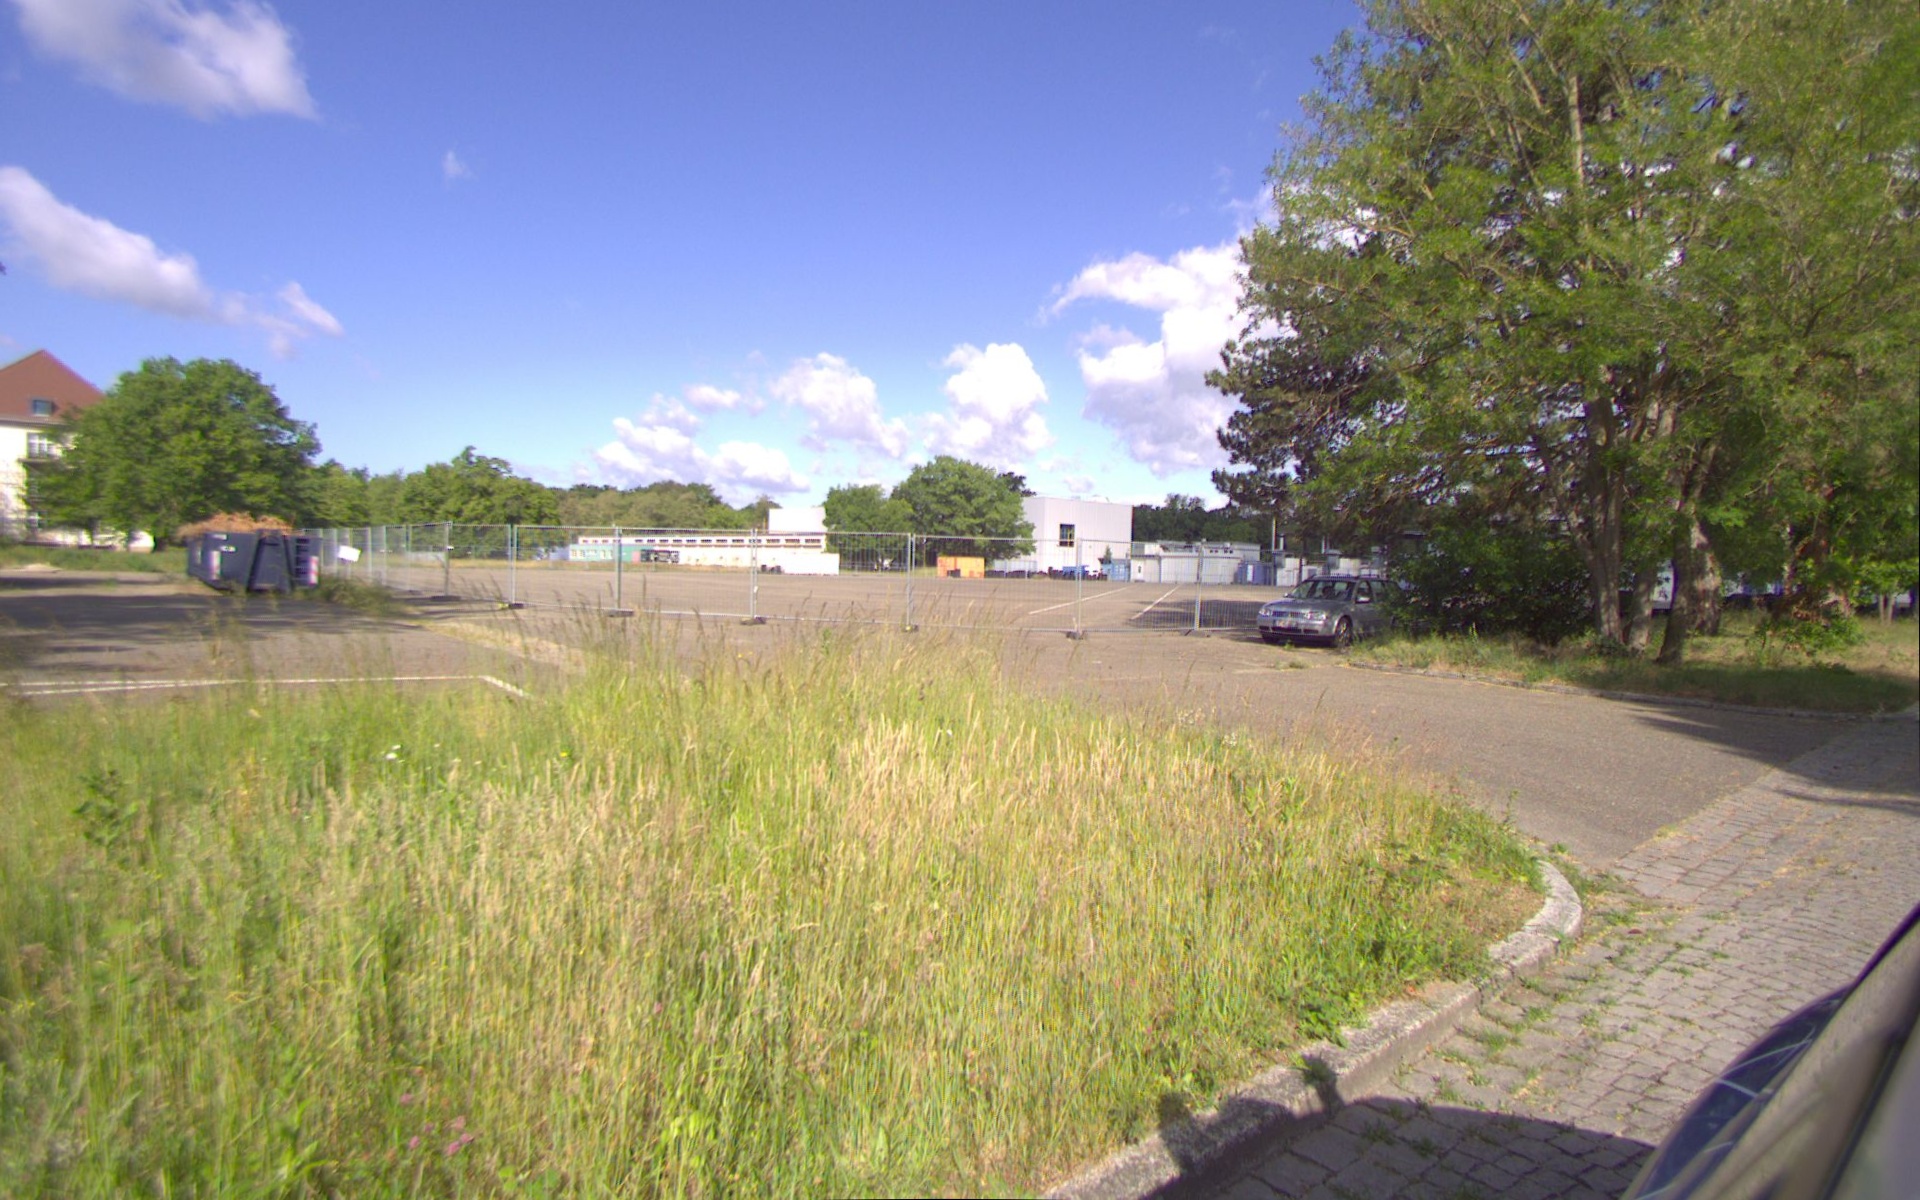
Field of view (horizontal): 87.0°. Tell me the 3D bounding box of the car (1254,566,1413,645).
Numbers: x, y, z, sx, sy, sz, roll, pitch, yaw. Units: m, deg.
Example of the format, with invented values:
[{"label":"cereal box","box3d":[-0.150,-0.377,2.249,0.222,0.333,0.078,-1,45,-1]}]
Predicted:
[{"label":"car","box3d":[7.890,0.071,21.218,3.921,1.461,1.576,0,3,-44]}]
